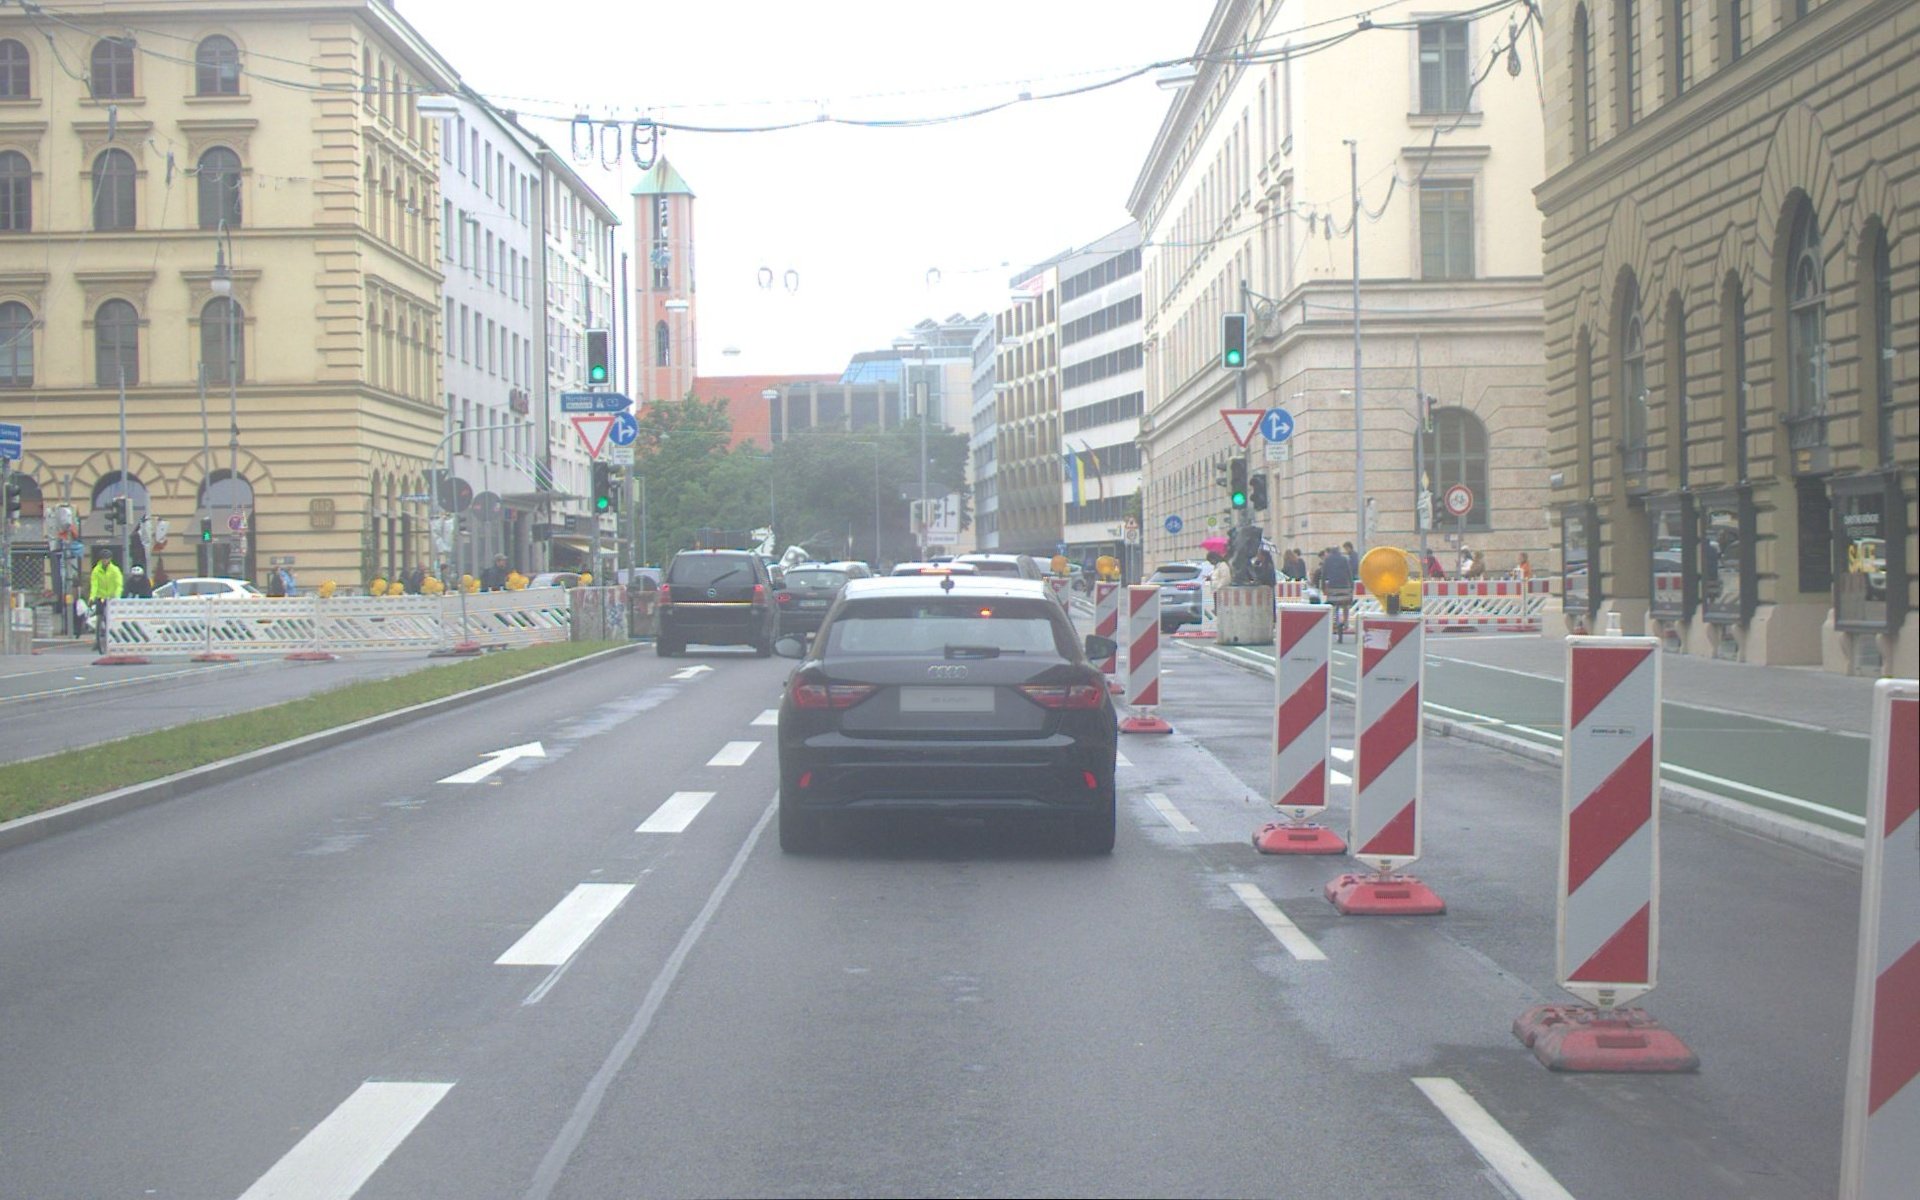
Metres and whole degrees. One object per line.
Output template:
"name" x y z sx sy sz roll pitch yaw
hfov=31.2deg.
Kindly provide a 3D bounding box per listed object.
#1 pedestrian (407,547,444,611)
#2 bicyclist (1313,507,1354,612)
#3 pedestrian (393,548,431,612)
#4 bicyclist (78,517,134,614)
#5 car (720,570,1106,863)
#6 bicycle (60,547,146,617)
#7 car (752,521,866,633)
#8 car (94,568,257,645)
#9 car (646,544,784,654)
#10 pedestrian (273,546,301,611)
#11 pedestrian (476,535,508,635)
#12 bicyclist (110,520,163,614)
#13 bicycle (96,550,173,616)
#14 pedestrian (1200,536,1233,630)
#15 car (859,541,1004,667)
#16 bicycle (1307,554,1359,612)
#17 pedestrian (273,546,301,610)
"pedestrian" -14.853 -0.585 95.564 0.734 1.766 0.738 1 1 21
"bicyclist" 6.632 -0.723 61.064 0.566 1.847 0.799 0 1 -6
"pedestrian" -15.117 -0.549 94.816 0.734 1.766 0.760 1 1 21
"bicyclist" -15.422 -0.626 62.100 0.798 1.742 0.689 0 1 4
"car" -0.248 0.547 18.629 1.863 1.383 4.000 0 1 -1
"bicycle" -15.434 -0.330 61.990 0.787 1.238 2.448 0 1 4
"car" -2.778 -0.441 64.081 1.993 2.007 4.000 -1 1 -1
"car" -19.101 0.151 83.841 3.739 1.792 1.868 -1 0 -9
"car" -3.704 -0.048 52.548 1.865 1.596 3.851 -1 1 -1
"pedestrian" -18.411 -0.592 94.016 0.733 1.766 0.739 0 1 -10
"pedestrian" -8.246 -0.274 60.557 0.512 1.737 1.043 -1 1 -10
"bicyclist" -15.690 -0.629 65.520 0.798 1.770 0.689 0 1 4
"bicycle" -15.700 -0.338 65.450 0.787 1.238 2.199 0 1 4
"pedestrian" 4.464 -0.298 59.792 0.531 1.614 0.674 1 1 2
"car" -0.423 0.026 46.273 1.768 1.611 4.001 0 1 -3
"bicycle" 6.622 -0.301 61.126 0.584 1.008 1.657 0 1 -6
"pedestrian" -18.542 -0.604 94.772 0.733 1.766 0.739 0 1 -10
